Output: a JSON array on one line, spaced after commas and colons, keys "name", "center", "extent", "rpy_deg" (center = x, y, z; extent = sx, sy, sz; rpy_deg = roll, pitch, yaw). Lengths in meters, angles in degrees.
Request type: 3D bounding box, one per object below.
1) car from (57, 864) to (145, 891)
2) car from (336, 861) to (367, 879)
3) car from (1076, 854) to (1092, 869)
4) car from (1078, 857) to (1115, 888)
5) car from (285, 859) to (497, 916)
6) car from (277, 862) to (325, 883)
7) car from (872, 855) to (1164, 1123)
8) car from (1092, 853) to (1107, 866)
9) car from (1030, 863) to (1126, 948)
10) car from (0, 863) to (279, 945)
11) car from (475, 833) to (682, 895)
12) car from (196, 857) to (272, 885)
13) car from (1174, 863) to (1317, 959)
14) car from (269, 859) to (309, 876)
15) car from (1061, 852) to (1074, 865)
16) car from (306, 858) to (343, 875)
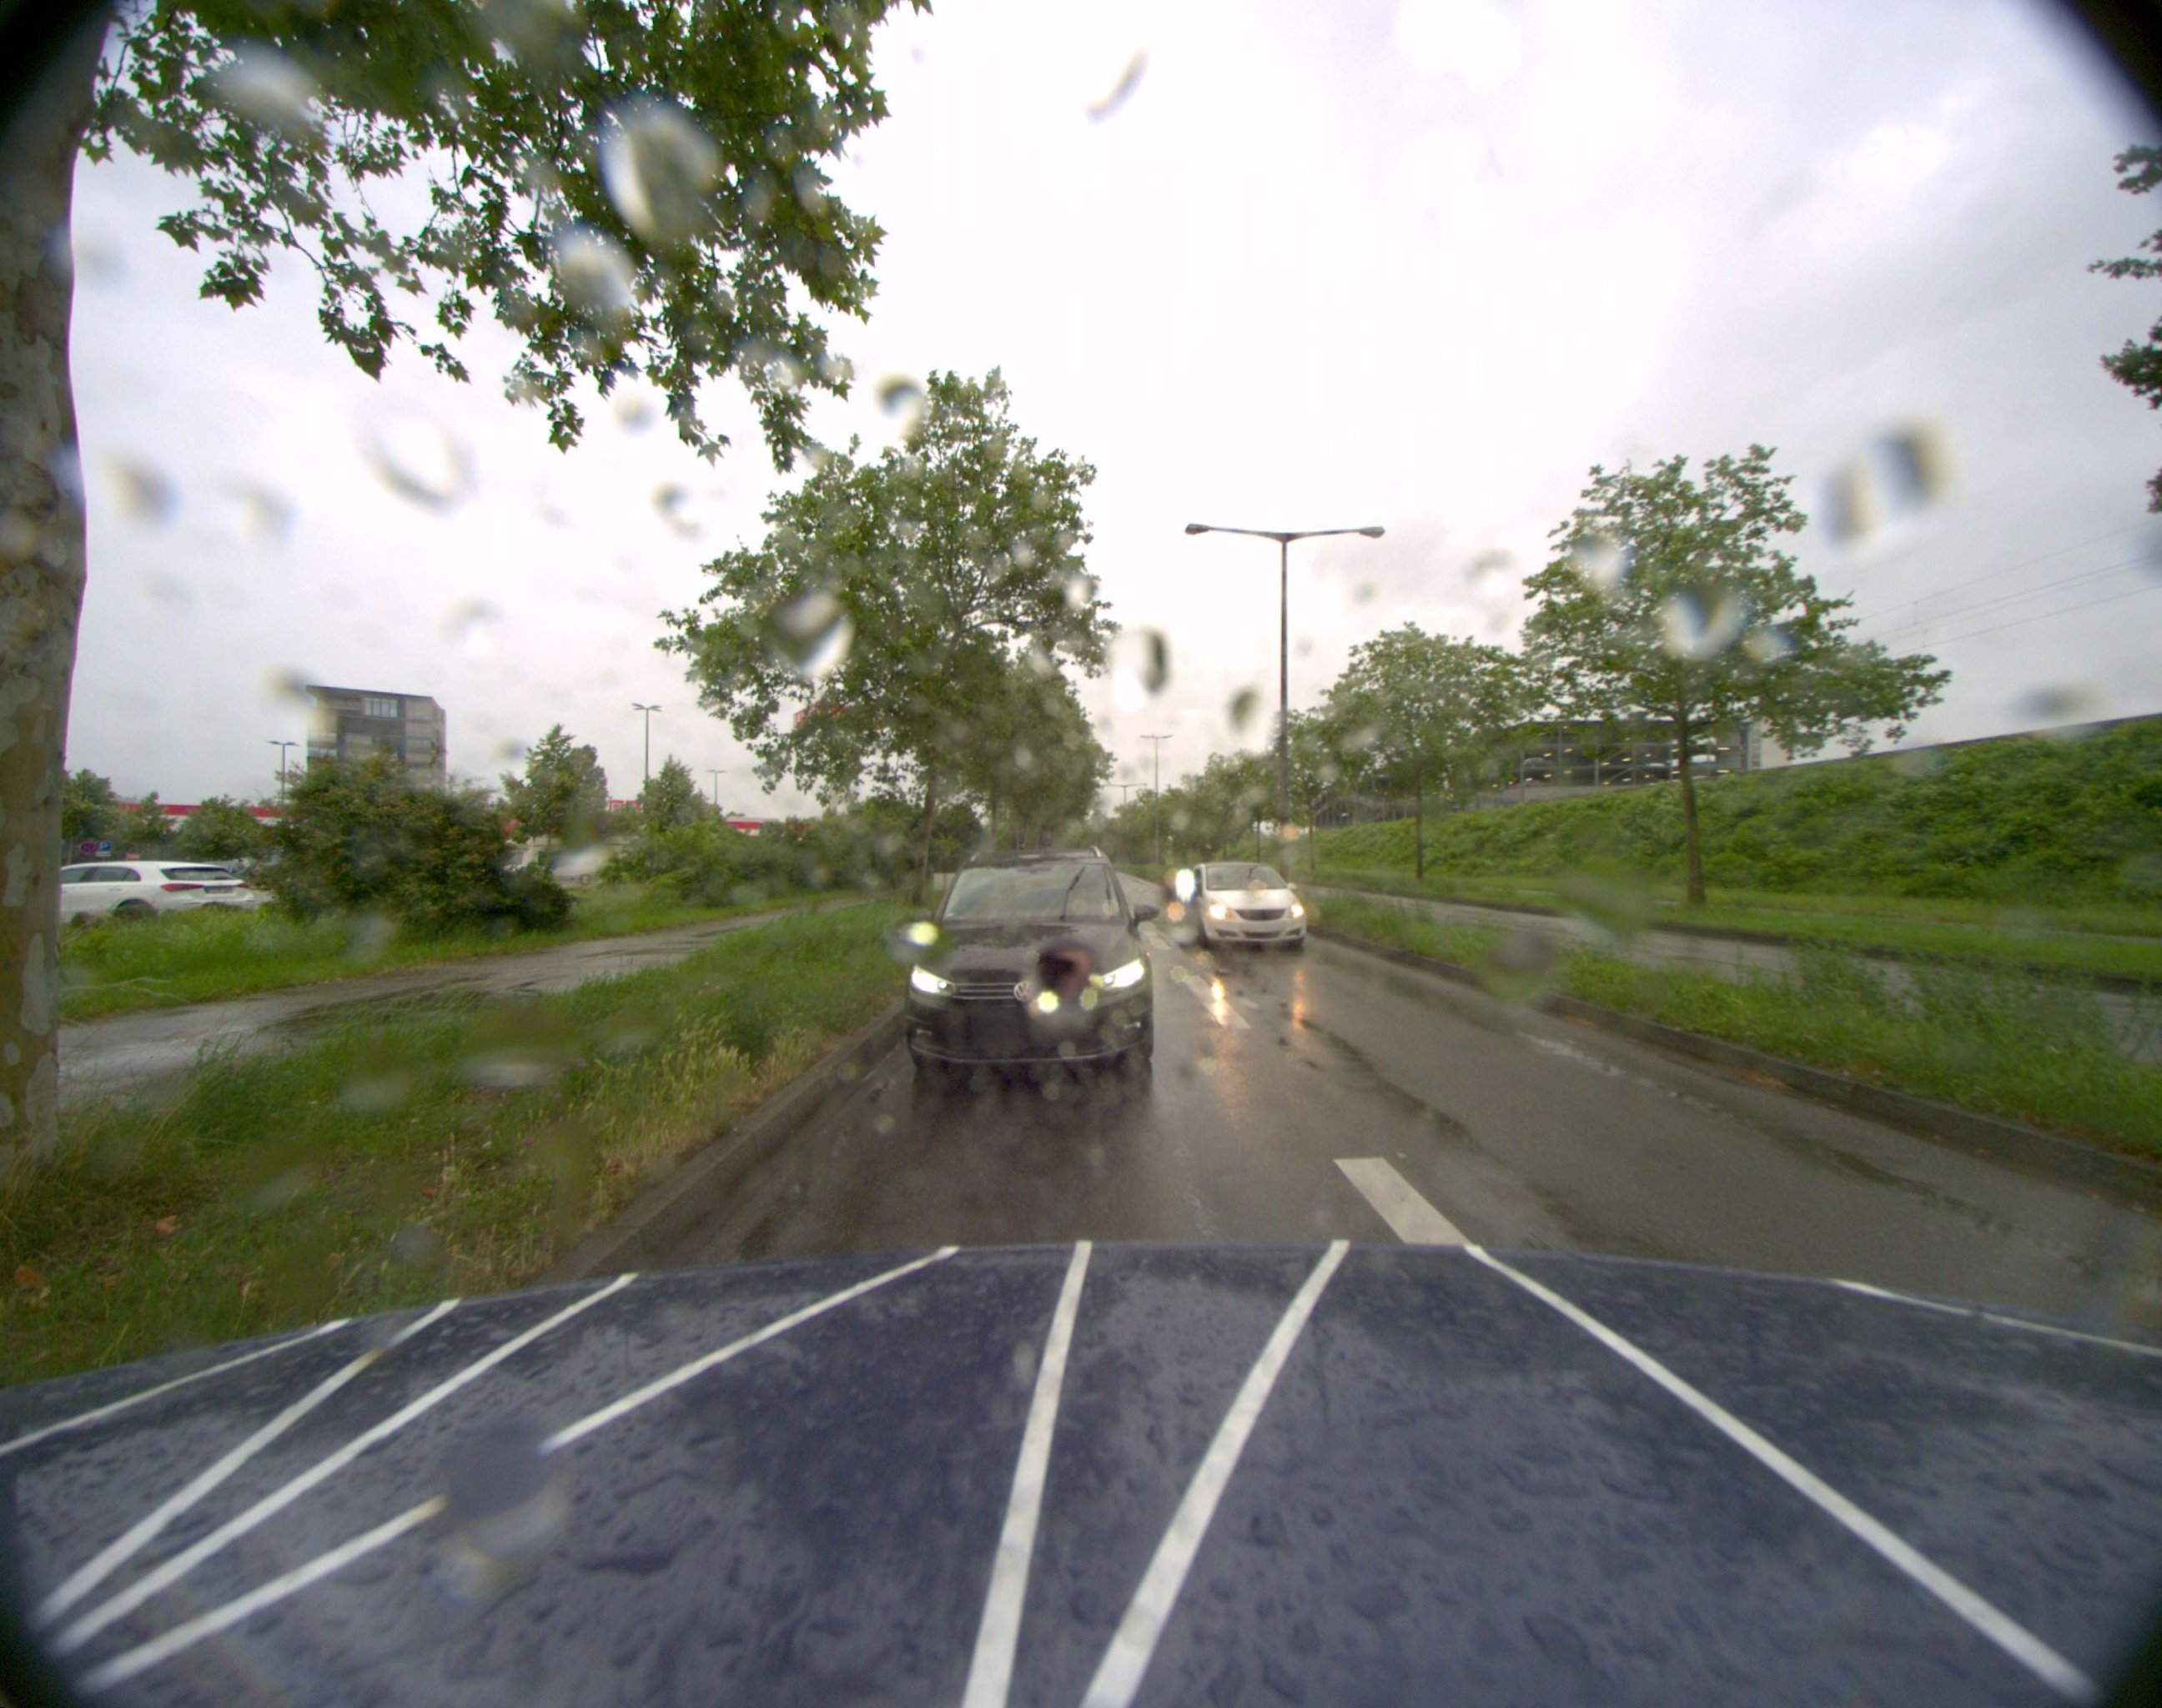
[{"name": "car", "center": [-61.924, 1.432, 48.101], "extent": [1.933, 1.543, 4.263], "rpy_deg": [0, 0, -30]}, {"name": "car", "center": [-68.790, 1.483, 71.686], "extent": [2.007, 1.667, 4.261], "rpy_deg": [0, 0, -43]}, {"name": "car", "center": [0.365, 0.853, 92.158], "extent": [1.831, 1.737, 4.147], "rpy_deg": [-2, 0, 0]}, {"name": "car", "center": [0.776, 0.892, 38.477], "extent": [1.724, 1.456, 4.092], "rpy_deg": [-2, 0, 1]}, {"name": "car", "center": [-19.946, 0.930, 22.138], "extent": [4.272, 1.543, 1.929], "rpy_deg": [0, 0, -4]}, {"name": "car", "center": [-67.285, 1.594, 65.609], "extent": [2.006, 1.667, 4.262], "rpy_deg": [0, 0, -34]}, {"name": "car", "center": [-0.437, 0.845, 7.076], "extent": [1.771, 1.596, 4.626], "rpy_deg": [-2, 0, -1]}, {"name": "car", "center": [2.499, 0.773, 102.049], "extent": [1.831, 1.602, 4.147], "rpy_deg": [-2, 0, 0]}, {"name": "car", "center": [-0.055, 0.965, 16.032], "extent": [1.724, 1.456, 4.092], "rpy_deg": [-2, 0, 0]}, {"name": "car", "center": [-19.793, 0.971, 15.668], "extent": [4.272, 1.543, 1.929], "rpy_deg": [0, 0, -4]}, {"name": "car", "center": [-19.666, 0.367, 30.087], "extent": [6.425, 2.349, 2.390], "rpy_deg": [0, 0, -8]}, {"name": "car", "center": [-49.932, 0.980, 44.882], "extent": [1.933, 1.543, 4.262], "rpy_deg": [0, 0, -33]}, {"name": "car", "center": [2.765, 0.908, 13.671], "extent": [1.683, 1.368, 4.011], "rpy_deg": [-2, 0, 0]}, {"name": "car", "center": [-80.581, 1.324, 77.339], "extent": [2.006, 1.667, 4.262], "rpy_deg": [0, 0, -35]}, {"name": "car", "center": [-2.148, 0.717, 121.865], "extent": [1.999, 2.002, 5.130], "rpy_deg": [-2, 1, -2]}, {"name": "car", "center": [-78.470, 1.226, 78.871], "extent": [2.006, 1.667, 4.262], "rpy_deg": [0, 0, -35]}]
